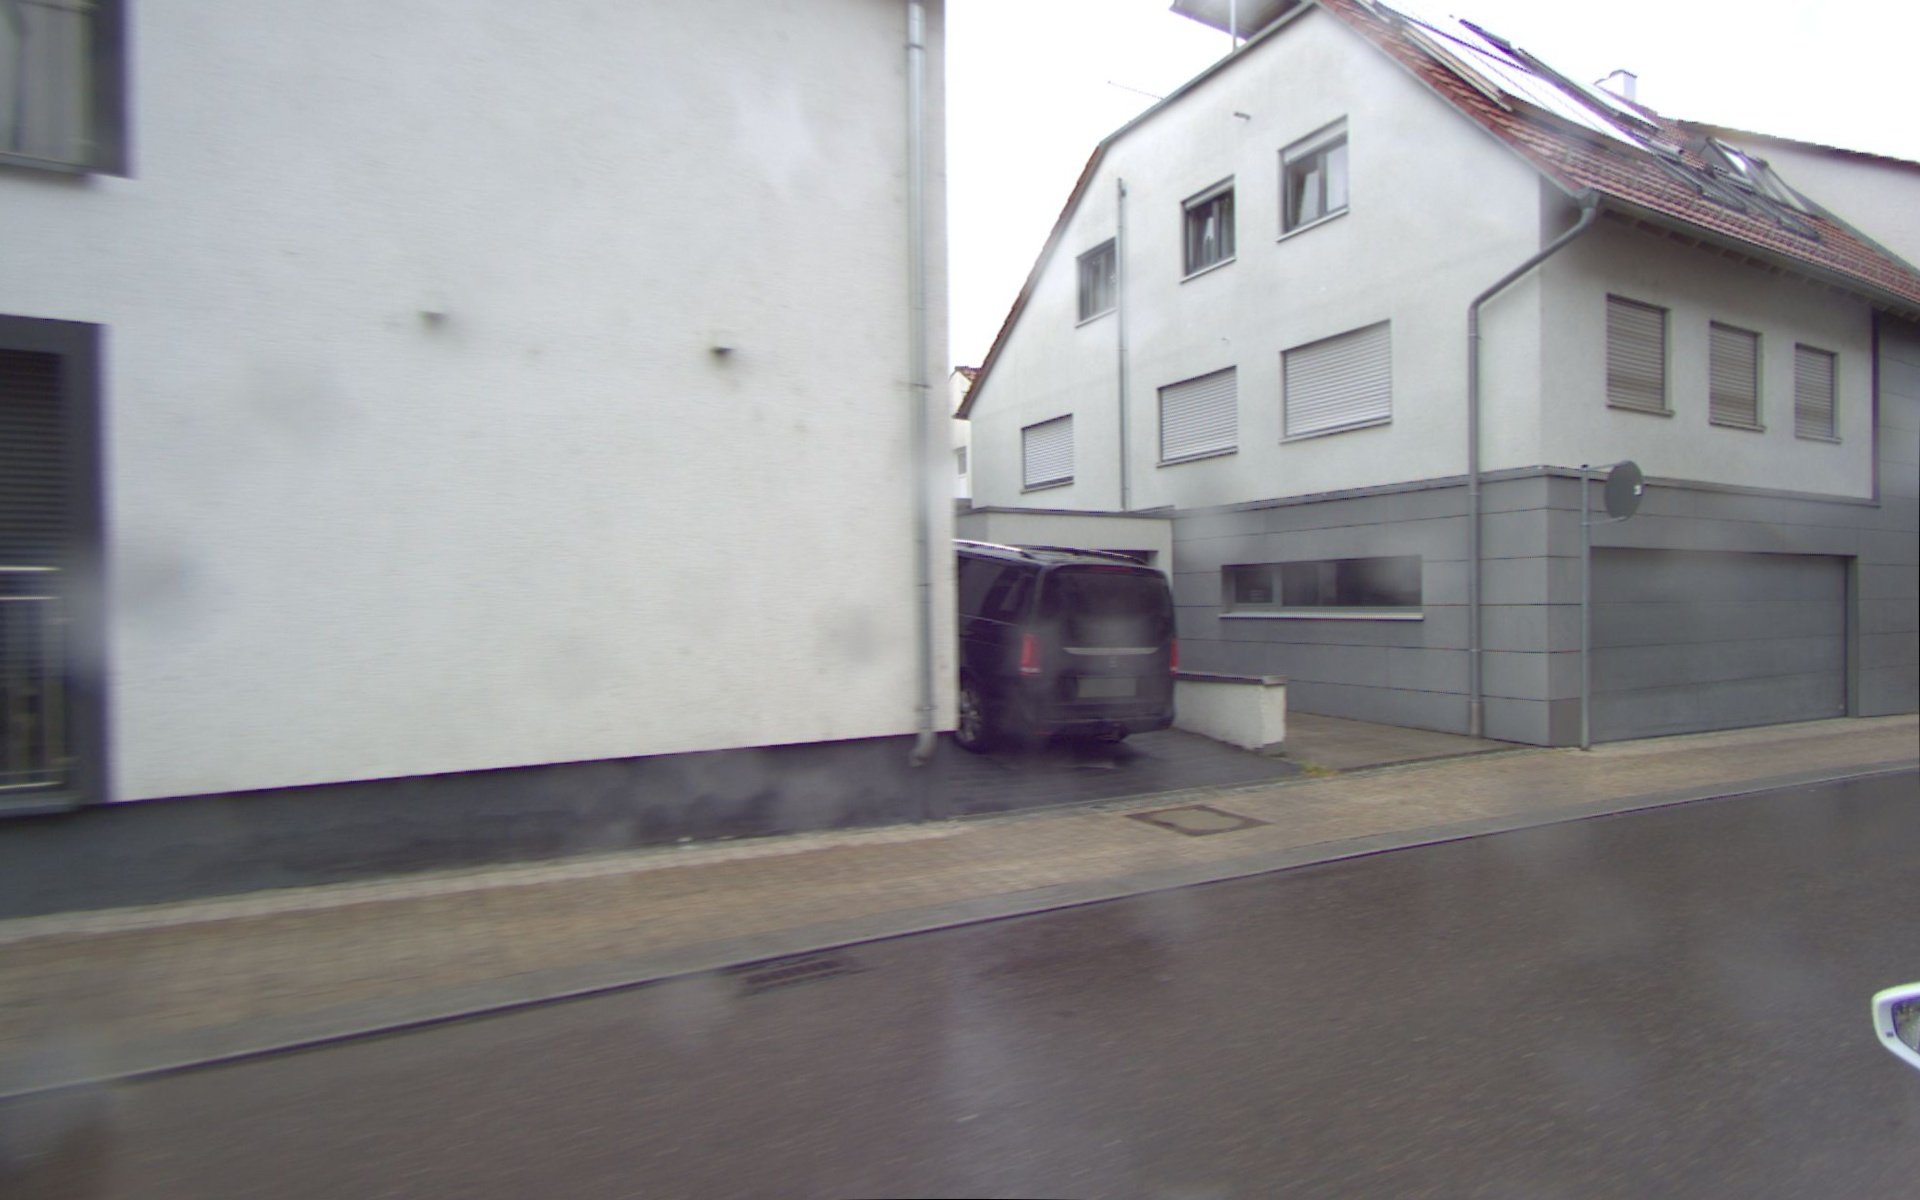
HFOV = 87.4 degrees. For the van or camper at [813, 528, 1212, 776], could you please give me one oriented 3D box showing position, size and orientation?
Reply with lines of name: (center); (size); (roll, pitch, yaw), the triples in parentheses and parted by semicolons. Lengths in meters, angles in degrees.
van or camper: (0.226, 0.312, 11.075); (1.976, 1.959, 5.001); (2, 4, -29)
